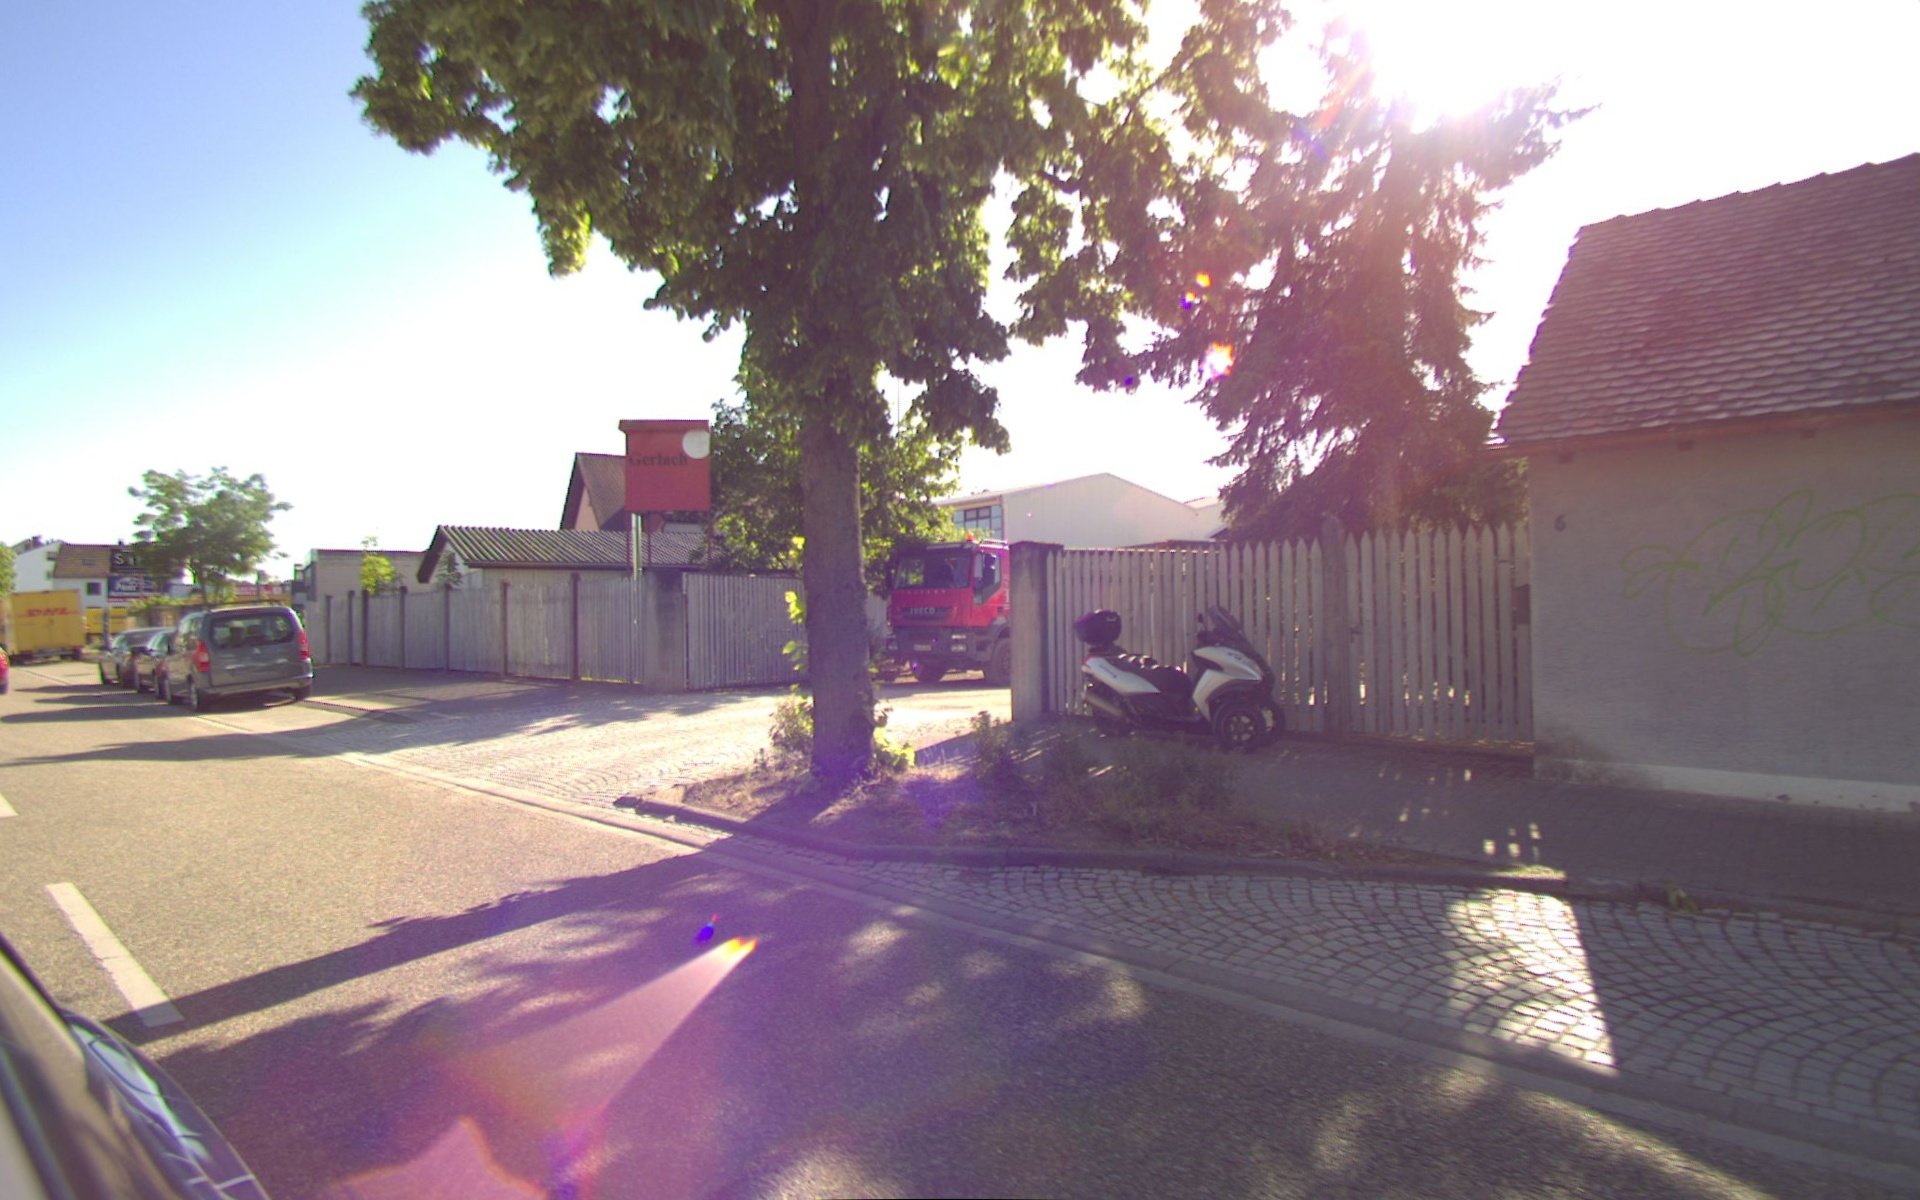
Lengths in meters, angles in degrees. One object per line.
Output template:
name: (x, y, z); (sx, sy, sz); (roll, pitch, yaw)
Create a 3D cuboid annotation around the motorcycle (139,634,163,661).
motorcycle: (-32.929, 1.916, 41.181); (0.530, 1.065, 2.071); (-3, 0, -45)

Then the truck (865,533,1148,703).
truck: (1.357, 0.419, 23.806); (2.899, 3.365, 7.339); (-2, -2, 38)

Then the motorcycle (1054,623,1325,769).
motorcycle: (2.176, 0.870, 9.926); (2.538, 1.243, 0.692); (-2, 0, 42)

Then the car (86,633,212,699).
car: (-20.887, 1.638, 25.980); (4.922, 1.459, 1.756); (-2, 0, 42)

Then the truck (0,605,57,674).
truck: (-42.319, 1.736, 45.371); (5.749, 2.895, 2.117); (-2, 0, 42)

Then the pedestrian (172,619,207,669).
pedestrian: (-28.226, 1.606, 37.089); (0.750, 1.756, 0.811); (-2, 0, 35)

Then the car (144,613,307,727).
car: (-14.075, 1.241, 19.287); (4.617, 1.863, 1.755); (-2, 0, 45)

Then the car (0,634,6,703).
car: (-22.215, 1.462, 21.960); (4.530, 1.431, 1.850); (-2, -4, 43)

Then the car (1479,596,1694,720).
car: (11.312, 0.948, 18.165); (4.405, 1.949, 1.919); (0, -2, -39)

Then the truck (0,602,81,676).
truck: (-37.279, 1.510, 40.752); (5.749, 2.734, 2.144); (-1, 0, 42)

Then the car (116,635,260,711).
car: (-17.459, 1.570, 22.799); (4.614, 1.459, 1.756); (-2, 0, 42)
